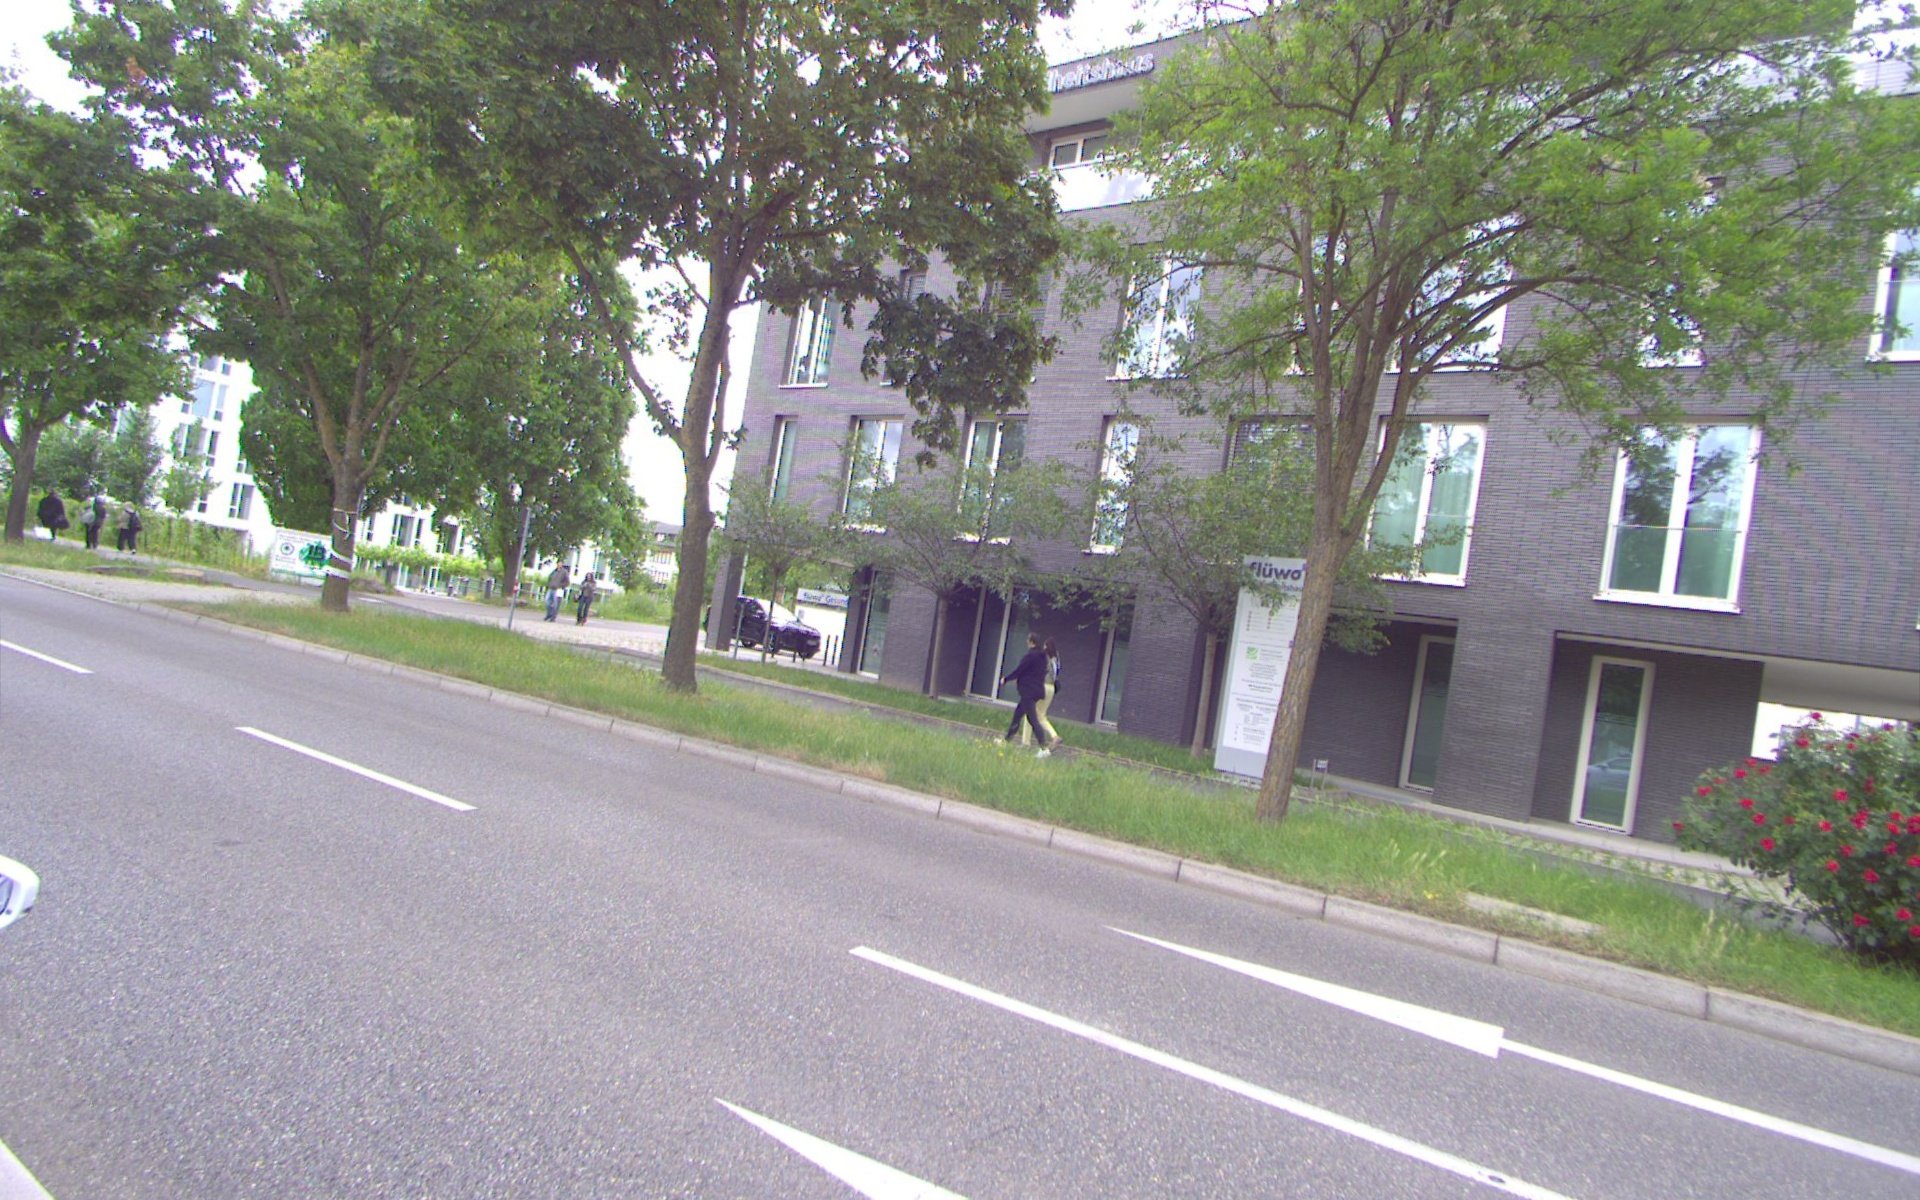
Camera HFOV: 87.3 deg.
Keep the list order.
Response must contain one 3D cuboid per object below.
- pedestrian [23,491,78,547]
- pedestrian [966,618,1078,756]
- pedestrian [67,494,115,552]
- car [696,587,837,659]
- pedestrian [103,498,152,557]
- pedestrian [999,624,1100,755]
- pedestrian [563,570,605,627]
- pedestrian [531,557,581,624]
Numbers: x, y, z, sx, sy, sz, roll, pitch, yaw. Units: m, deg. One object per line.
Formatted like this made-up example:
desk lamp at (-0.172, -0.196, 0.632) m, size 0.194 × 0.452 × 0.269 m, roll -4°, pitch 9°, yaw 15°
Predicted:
pedestrian at (-26.935, -2.400, 29.799) m, size 1.093 × 1.465 × 0.791 m, roll 6°, pitch -1°, yaw 31°
pedestrian at (0.832, 1.173, 13.568) m, size 1.043 × 1.679 × 0.796 m, roll 7°, pitch -1°, yaw 38°
pedestrian at (-26.374, -2.345, 30.529) m, size 0.868 × 1.614 × 0.701 m, roll 6°, pitch -1°, yaw 31°
car at (-6.112, 0.717, 31.691) m, size 4.080 × 1.665 × 1.759 m, roll 7°, pitch -2°, yaw 32°
pedestrian at (-25.984, -2.259, 31.397) m, size 0.868 × 1.705 × 0.768 m, roll 6°, pitch -1°, yaw 31°
pedestrian at (1.255, 1.252, 14.084) m, size 0.937 × 1.679 × 0.779 m, roll 7°, pitch -1°, yaw 38°
pedestrian at (-11.397, -0.034, 30.553) m, size 0.821 × 1.575 × 0.875 m, roll 8°, pitch -1°, yaw -8°
pedestrian at (-12.182, -0.270, 30.352) m, size 0.946 × 1.889 × 0.978 m, roll 8°, pitch -1°, yaw -8°
